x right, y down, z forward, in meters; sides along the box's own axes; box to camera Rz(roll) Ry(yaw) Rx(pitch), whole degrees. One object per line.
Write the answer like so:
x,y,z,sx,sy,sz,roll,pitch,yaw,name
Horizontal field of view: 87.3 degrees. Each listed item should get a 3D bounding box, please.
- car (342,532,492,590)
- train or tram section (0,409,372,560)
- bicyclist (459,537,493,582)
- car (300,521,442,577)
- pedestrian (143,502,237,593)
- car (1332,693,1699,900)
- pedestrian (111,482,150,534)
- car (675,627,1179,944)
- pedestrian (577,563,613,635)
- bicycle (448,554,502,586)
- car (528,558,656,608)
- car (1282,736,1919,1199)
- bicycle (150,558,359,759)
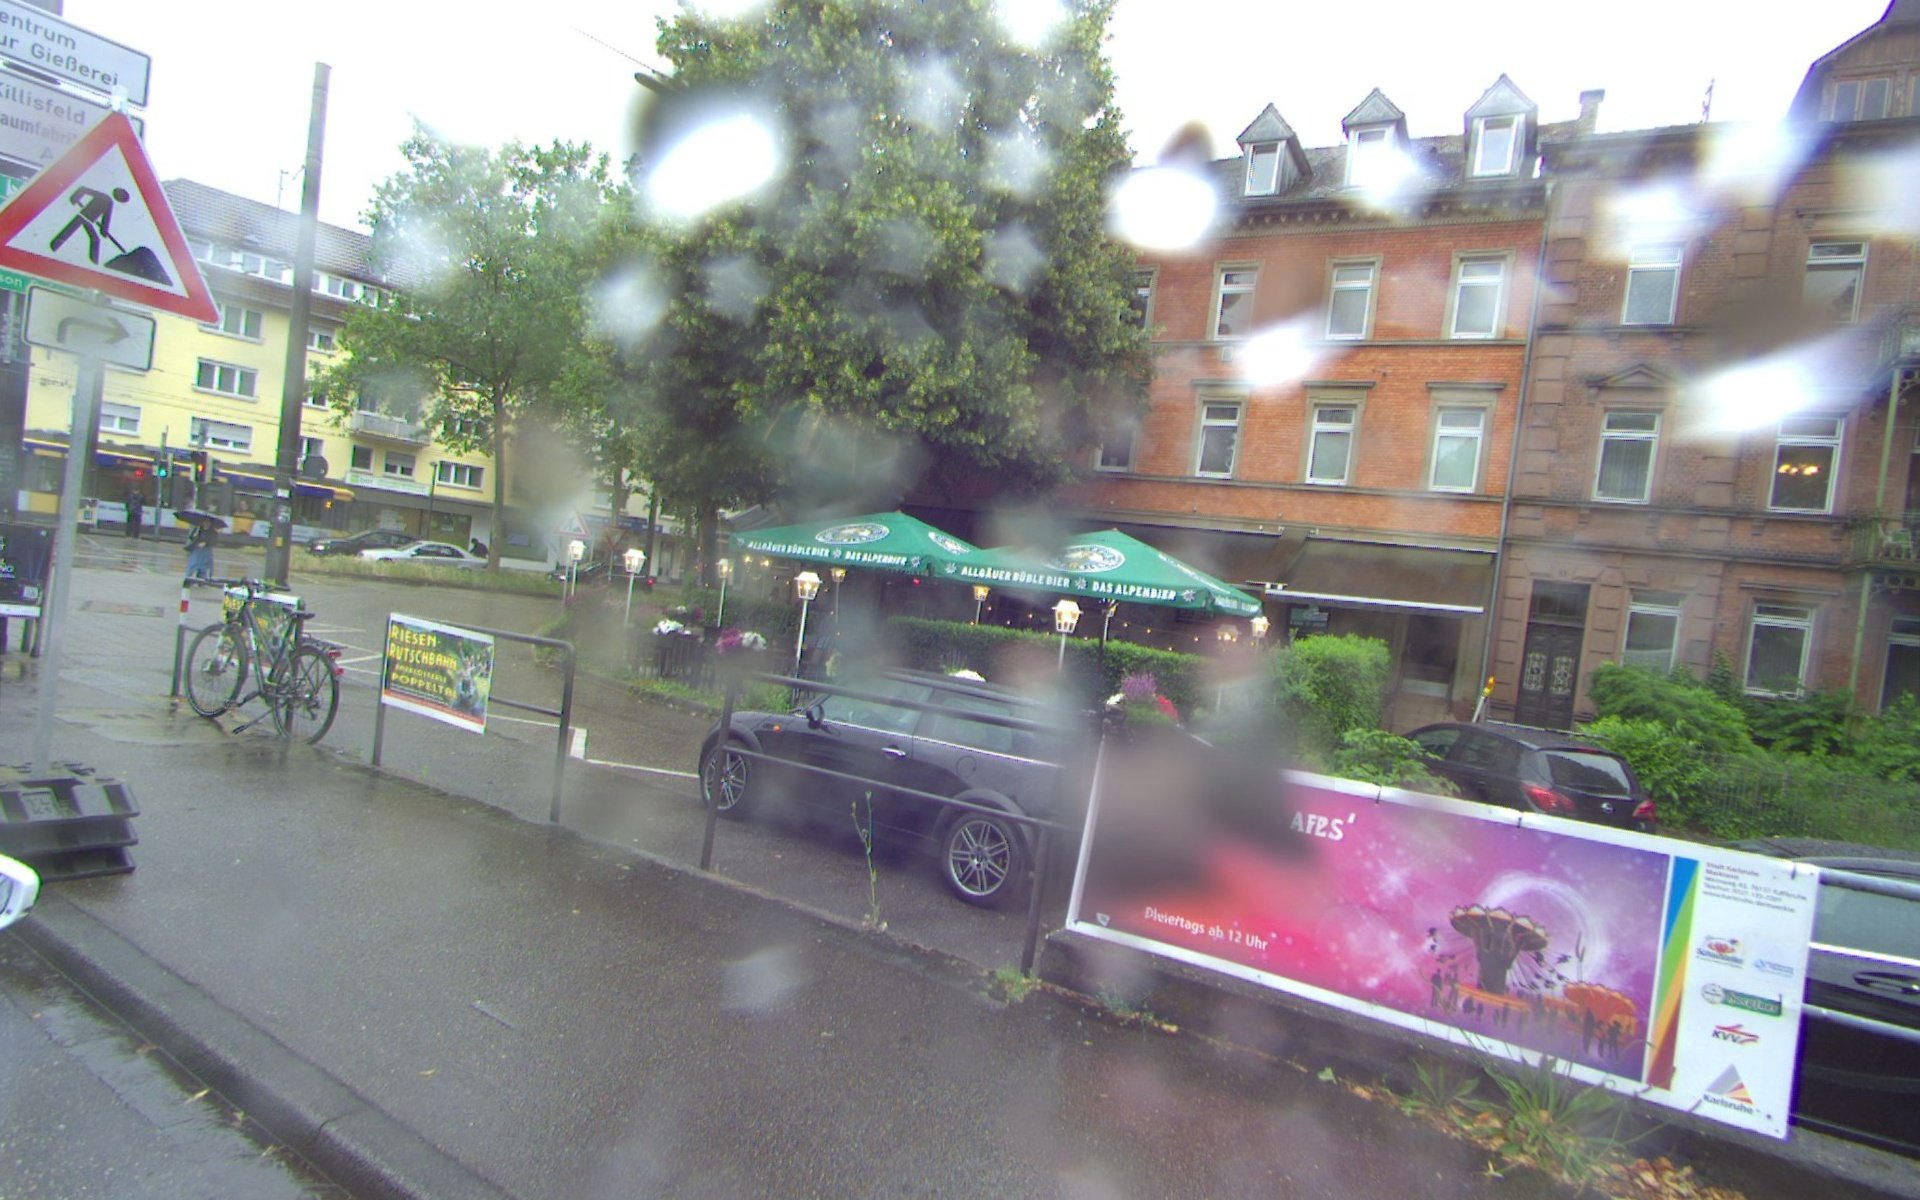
-19.948,-1.421,37.099,1.717,1.508,4.474,9,1,45,car
-30.739,-4.311,38.197,3.064,3.601,14.651,8,0,31,train or tram section
-20.183,-1.692,41.934,0.704,1.737,0.886,8,0,42,bicyclist
-22.600,-1.934,38.711,1.853,1.520,4.264,8,1,40,car
-16.014,-1.078,20.955,1.089,1.687,0.995,8,0,-14,pedestrian
6.404,2.191,12.229,1.828,1.526,3.997,8,-1,-5,car
-29.628,-3.274,35.954,0.806,1.698,1.008,7,1,-32,pedestrian
-0.329,1.248,7.840,3.459,1.518,1.649,8,-1,34,car
-8.715,-0.015,23.995,0.382,1.667,0.549,8,3,33,pedestrian
-20.223,-1.255,41.964,0.710,1.044,1.808,8,-1,42,bicycle
-15.458,-0.693,42.432,4.612,1.504,1.838,7,1,-45,car
3.999,1.824,4.987,4.146,1.481,1.749,8,0,32,car
-5.179,0.394,7.345,1.762,1.182,0.423,8,-1,30,bicycle
